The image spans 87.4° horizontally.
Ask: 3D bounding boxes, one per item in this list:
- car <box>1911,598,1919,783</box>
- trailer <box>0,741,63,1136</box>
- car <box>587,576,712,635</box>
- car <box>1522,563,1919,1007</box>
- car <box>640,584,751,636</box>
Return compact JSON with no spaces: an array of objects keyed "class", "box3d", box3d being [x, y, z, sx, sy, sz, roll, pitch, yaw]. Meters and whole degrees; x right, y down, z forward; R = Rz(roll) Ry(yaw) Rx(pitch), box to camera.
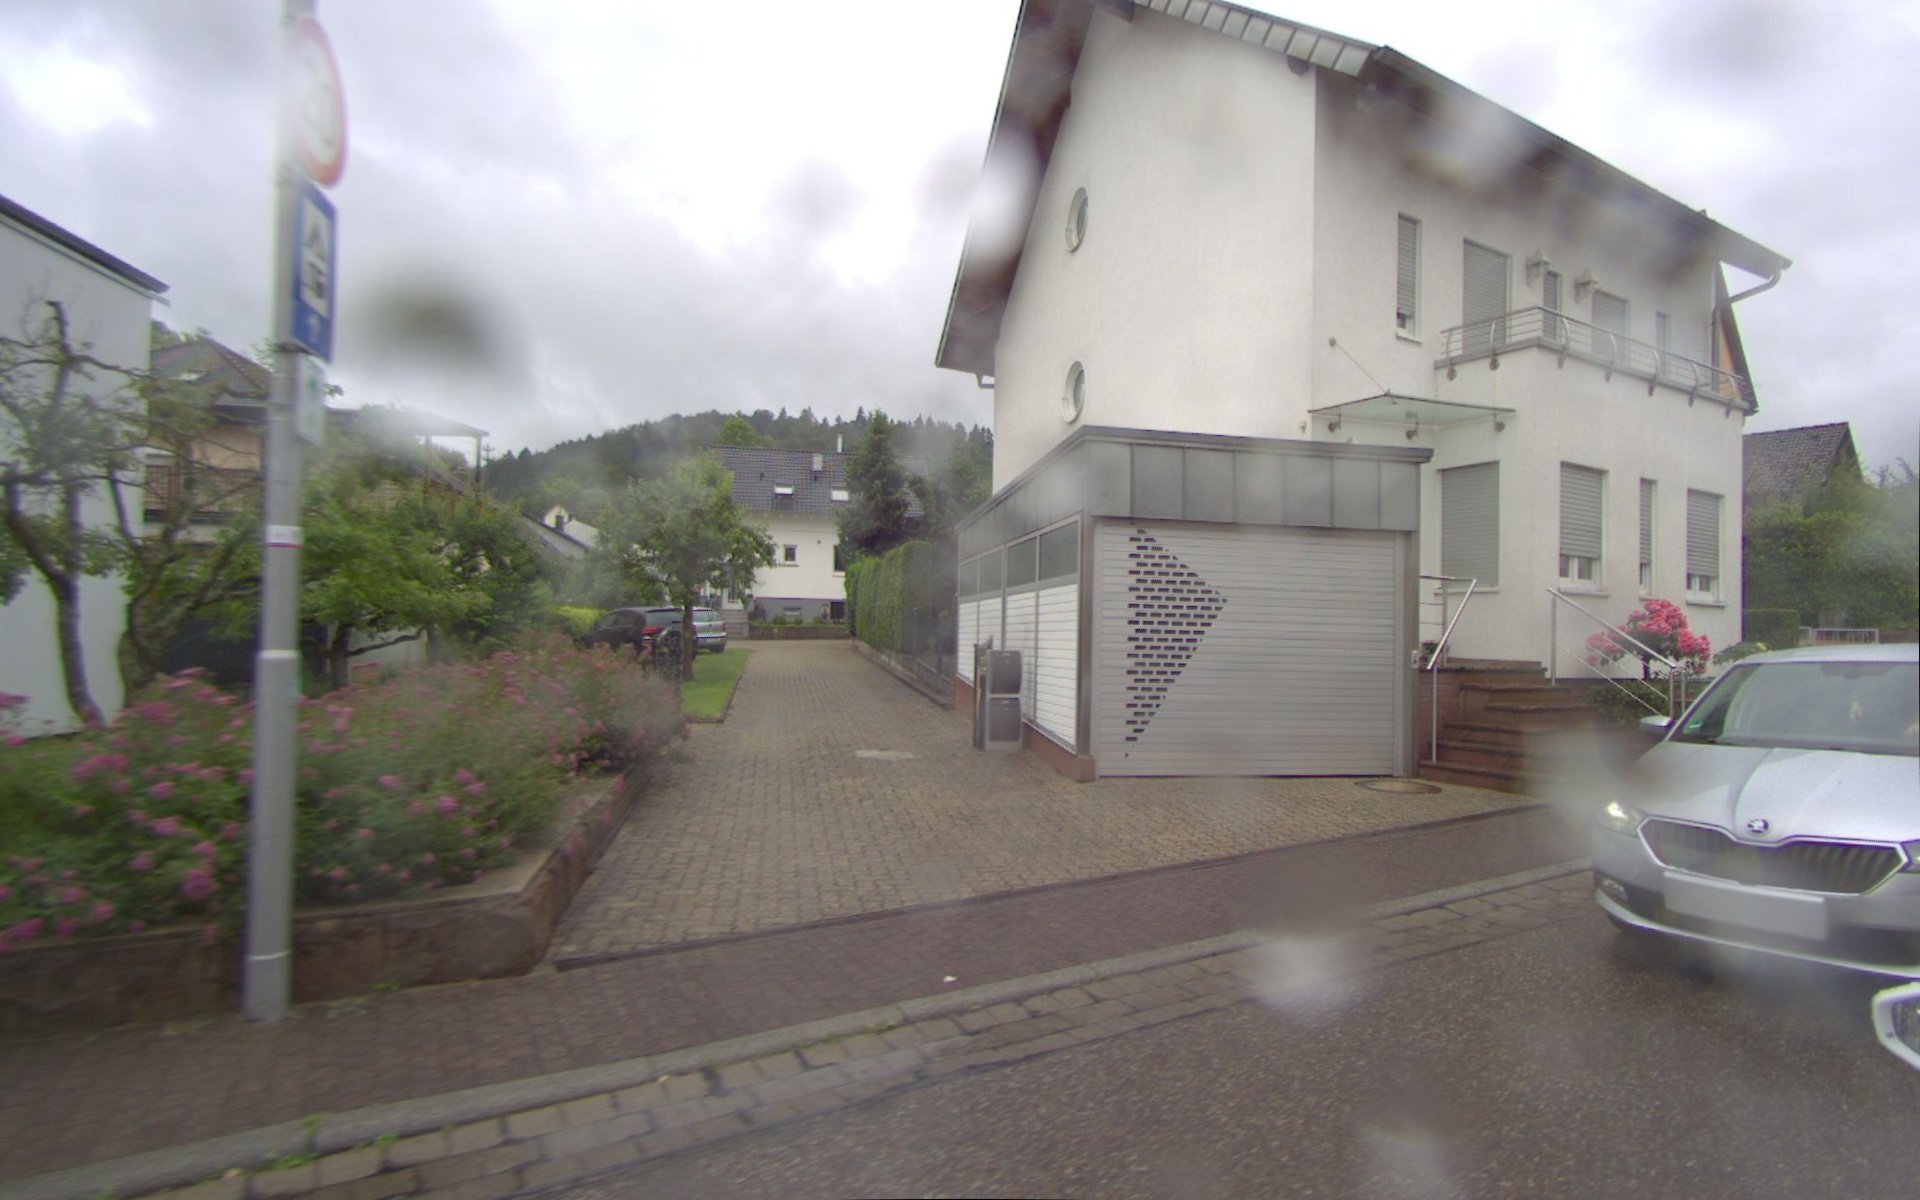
[{"class":"car","box3d":[11.262,0.860,9.790,4.735,1.699,1.981,1,-2,-35]},{"class":"trailer","box3d":[-3.013,0.675,1.178,2.646,0.839,1.475,3,-4,-32]},{"class":"car","box3d":[-8.258,0.140,26.476,1.981,1.439,3.959,1,0,-36]},{"class":"car","box3d":[4.690,0.734,5.198,3.897,1.585,1.677,2,-2,-36]},{"class":"car","box3d":[-8.244,0.324,31.094,1.981,1.439,3.959,4,-3,-36]}]
